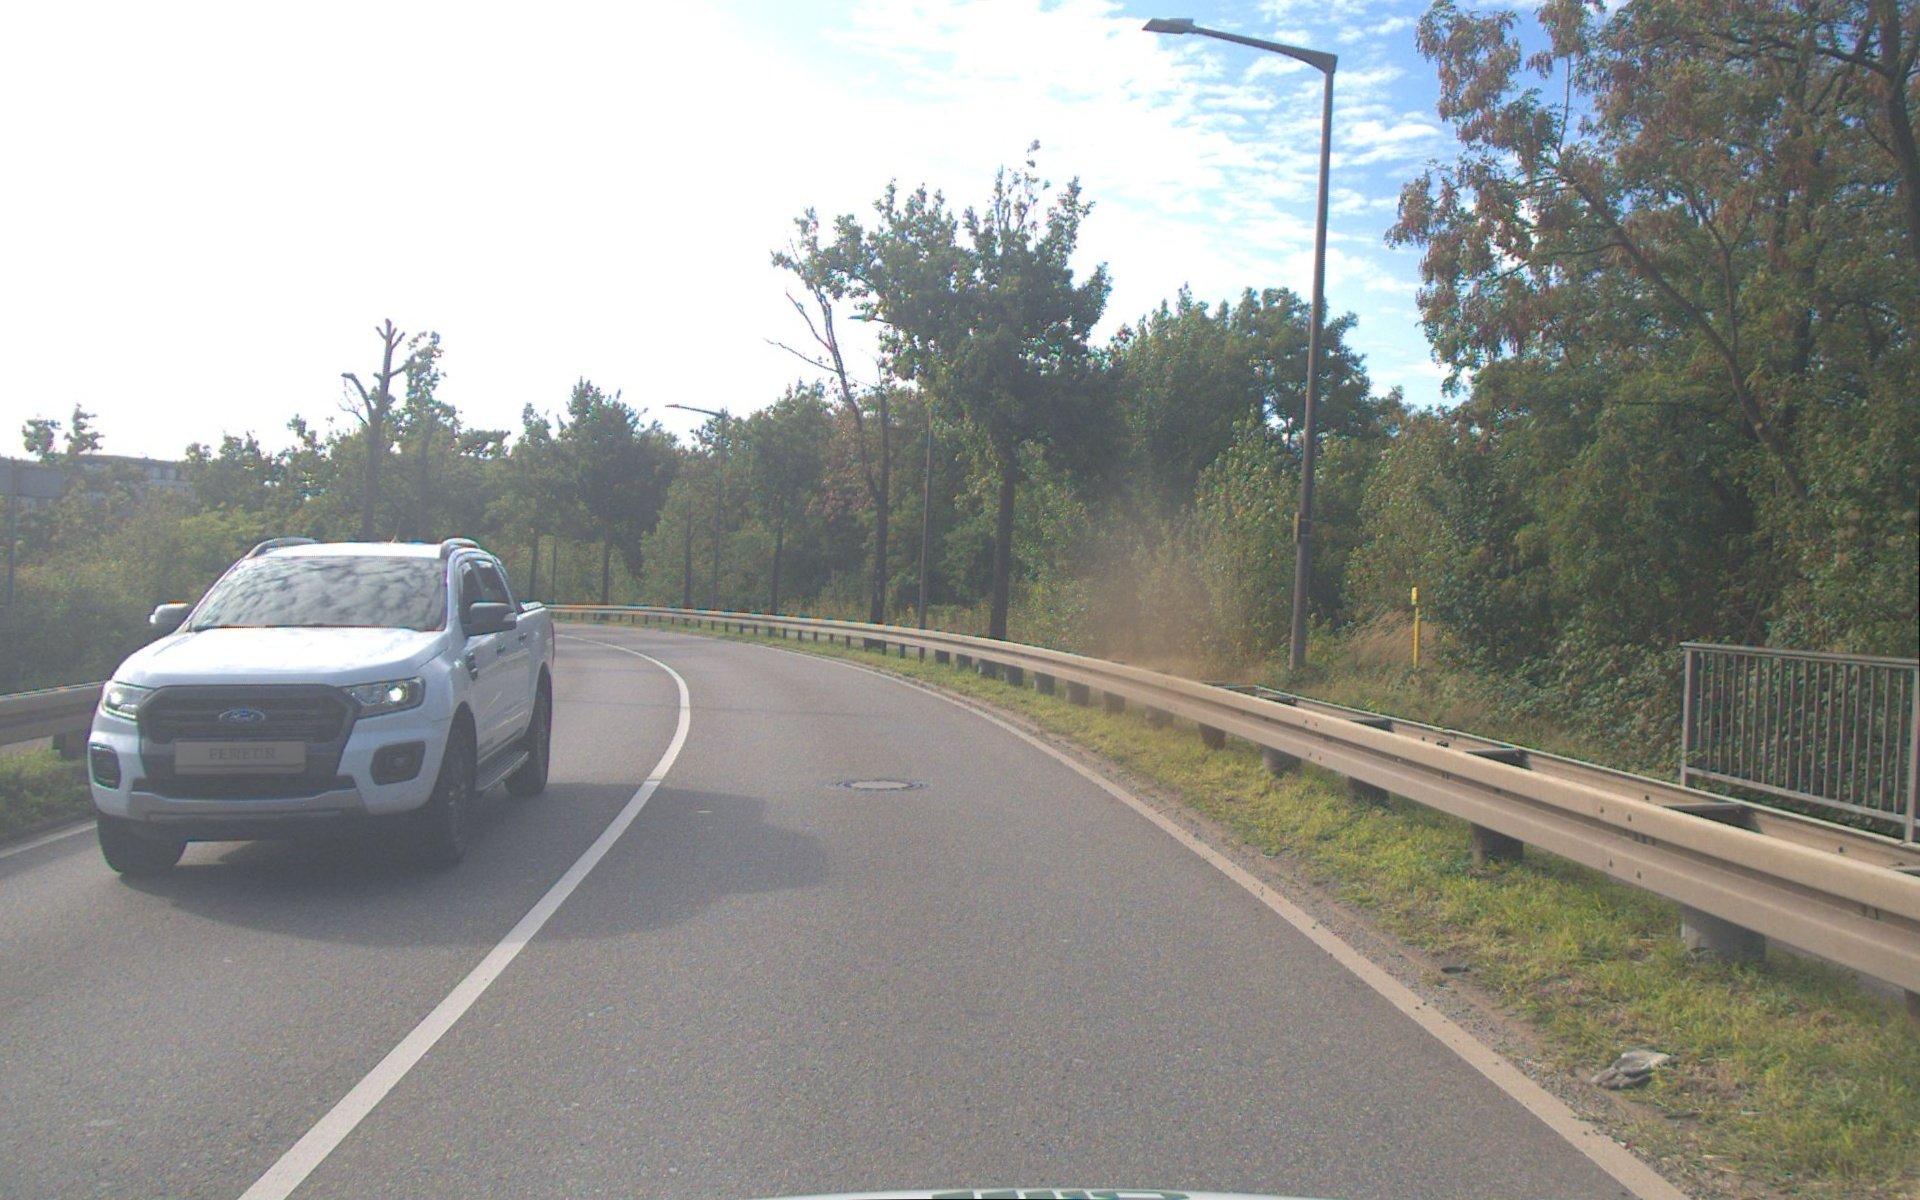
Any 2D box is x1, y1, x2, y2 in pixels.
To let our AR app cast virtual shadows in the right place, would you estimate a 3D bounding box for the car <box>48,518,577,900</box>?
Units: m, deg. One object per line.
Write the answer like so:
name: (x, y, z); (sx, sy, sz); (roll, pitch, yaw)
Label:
car: (-3.770, 0.512, 10.777); (1.864, 1.842, 5.396); (0, 0, -6)
